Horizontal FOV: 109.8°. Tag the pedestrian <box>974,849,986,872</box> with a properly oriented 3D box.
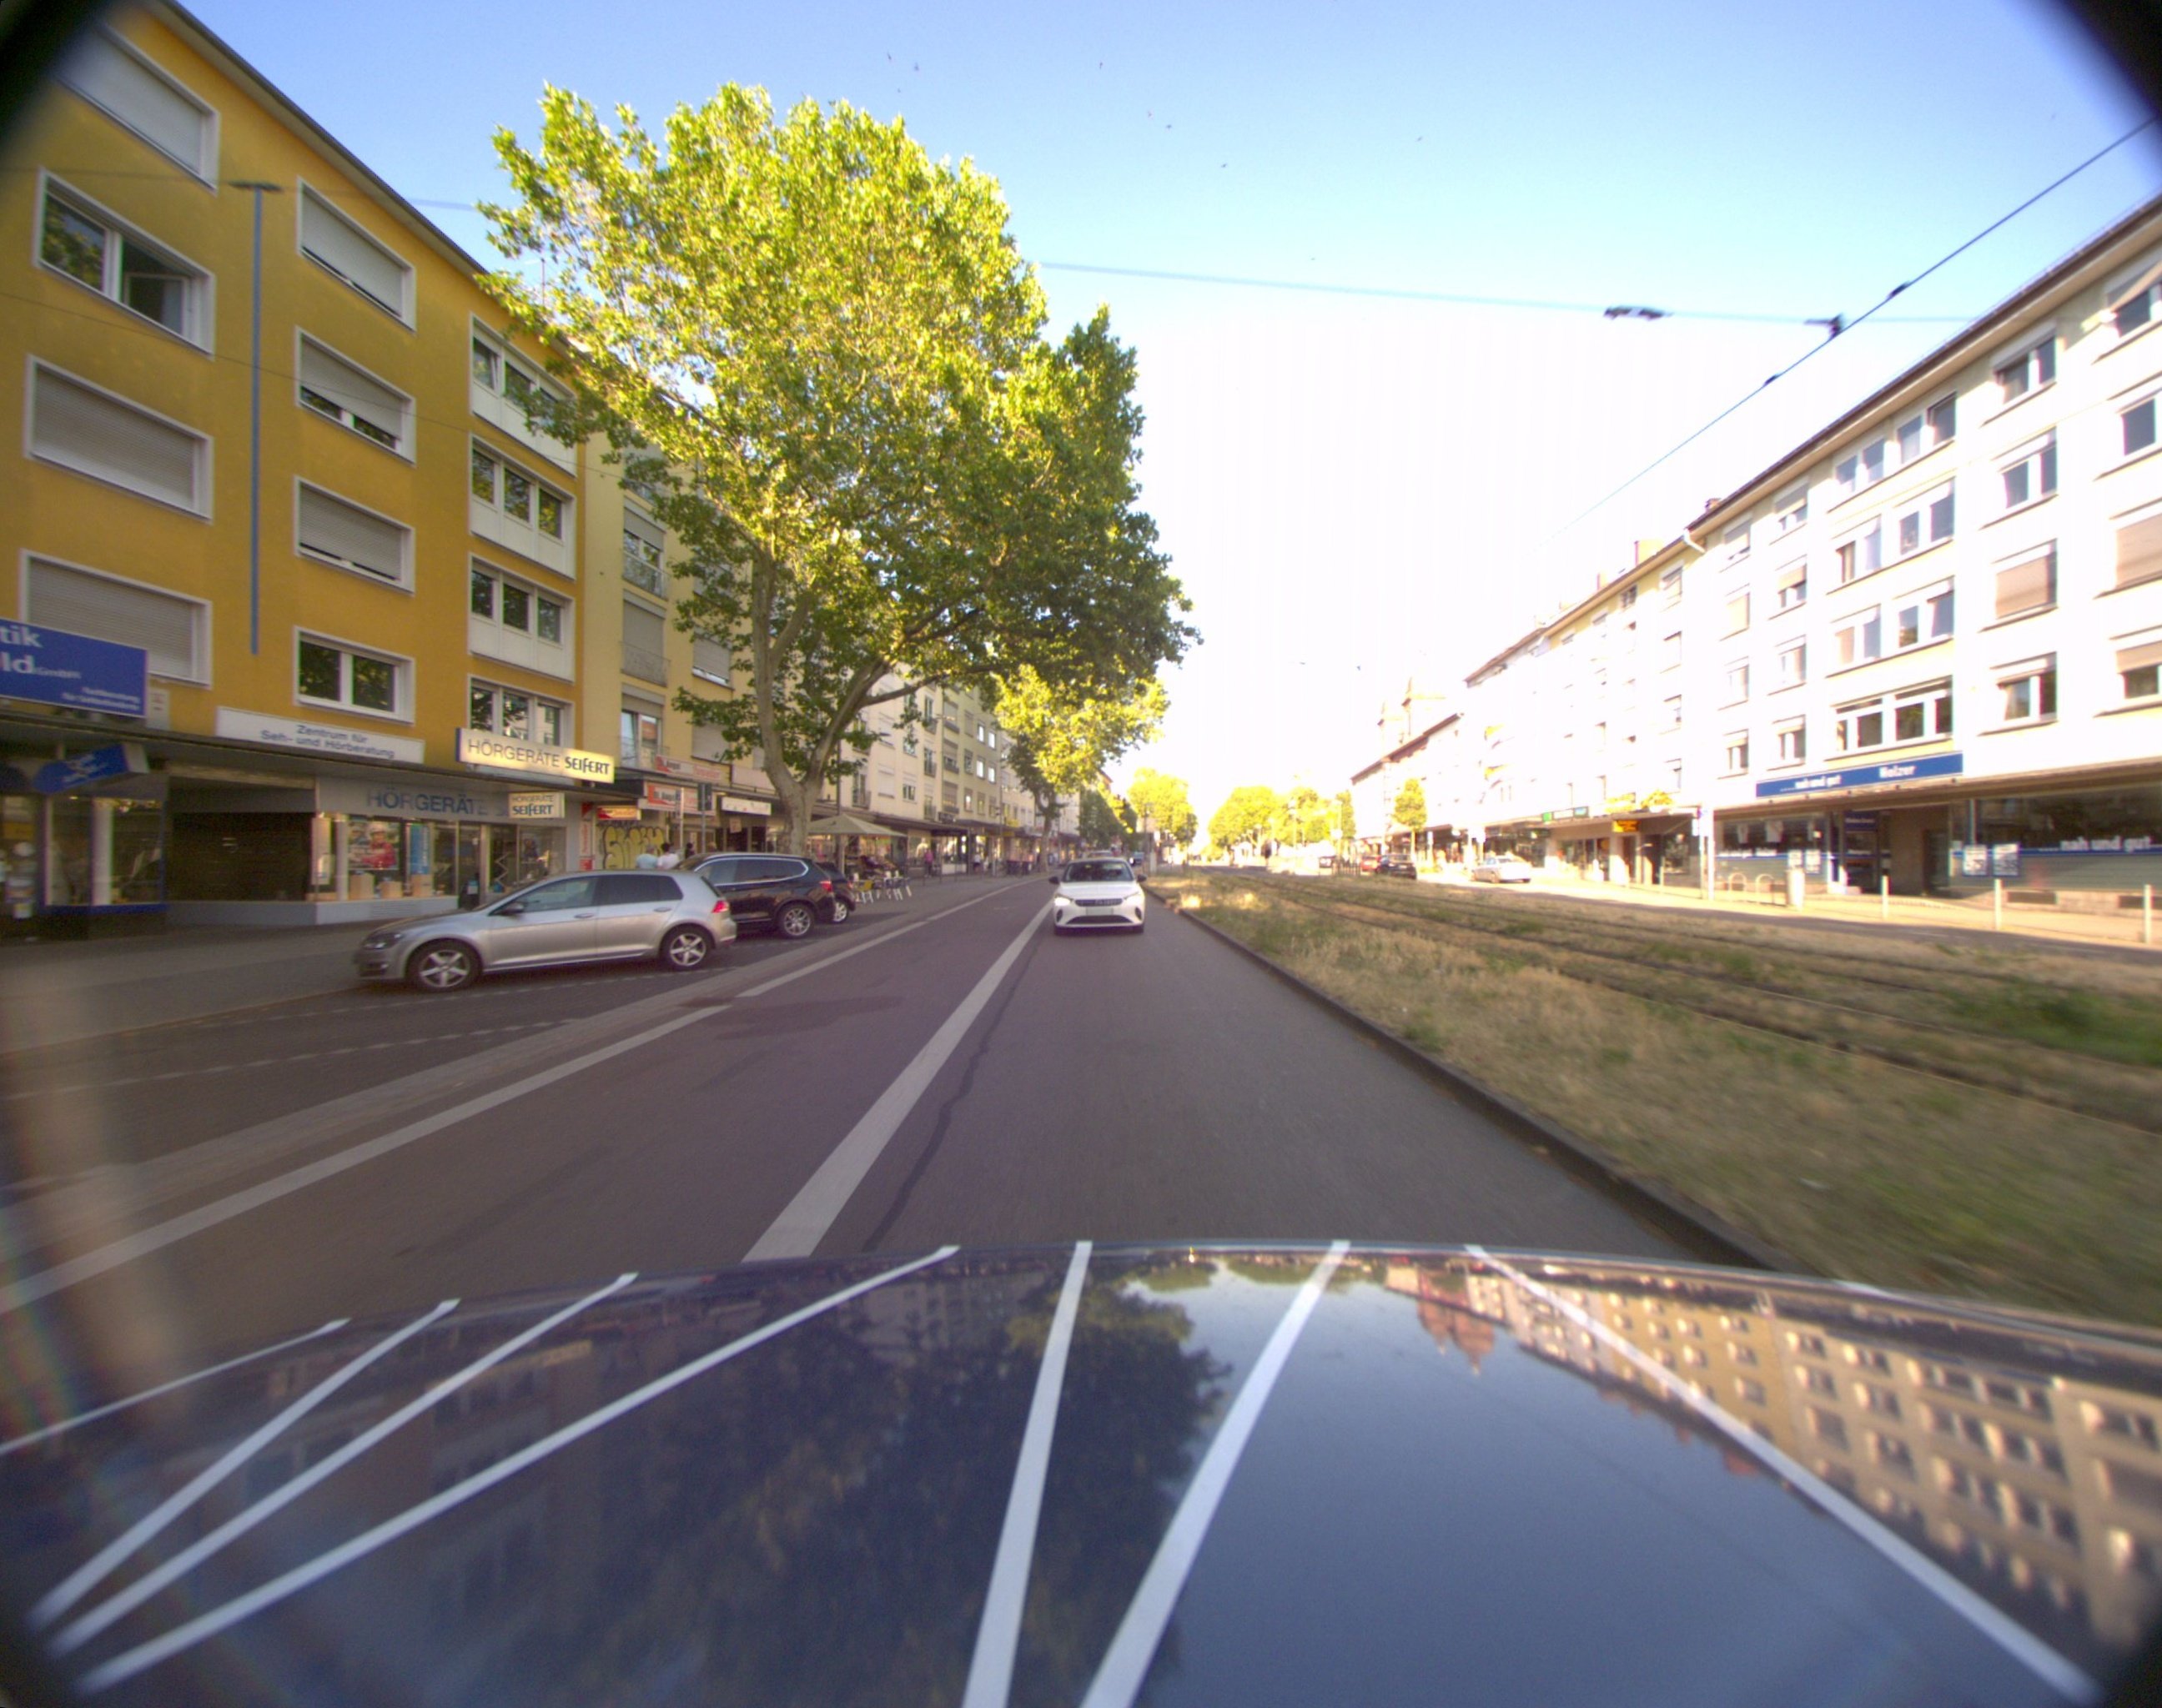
[{"bbox_3d":[-7.073,0.439,53.089,0.623,1.577,0.627,2,1,7],"label":"pedestrian"}]

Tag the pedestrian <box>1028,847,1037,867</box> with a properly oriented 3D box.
[{"bbox_3d":[-4.060,0.268,64.064,0.547,1.619,0.896,2,0,9],"label":"pedestrian"}]

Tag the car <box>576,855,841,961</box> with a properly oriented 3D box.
[{"bbox_3d":[-6.916,0.887,14.326,4.159,1.671,1.804,-1,1,-39],"label":"car"}]

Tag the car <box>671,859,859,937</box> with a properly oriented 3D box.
[{"bbox_3d":[-7.199,0.921,17.450,3.615,1.531,1.737,-1,1,-39],"label":"car"}]

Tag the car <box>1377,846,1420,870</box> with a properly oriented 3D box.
[{"bbox_3d":[26.467,0.301,63.330,3.777,1.789,1.859,-3,1,-43],"label":"car"}]

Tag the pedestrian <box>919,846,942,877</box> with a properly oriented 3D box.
[{"bbox_3d":[-8.880,0.415,44.865,0.969,1.753,1.134,1,2,9],"label":"pedestrian"}]

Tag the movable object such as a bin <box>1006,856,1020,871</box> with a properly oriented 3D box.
[{"bbox_3d":[-4.950,0.693,55.214,0.722,1.066,0.645,2,2,27],"label":"movable object such as a bin"}]

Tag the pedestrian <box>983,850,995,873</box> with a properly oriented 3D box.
[{"bbox_3d":[-6.427,0.489,53.003,0.636,1.577,0.627,2,1,7],"label":"pedestrian"}]

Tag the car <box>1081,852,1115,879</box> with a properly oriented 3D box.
[{"bbox_3d":[1.053,0.645,44.015,1.717,1.390,4.001,-2,0,4],"label":"car"}]

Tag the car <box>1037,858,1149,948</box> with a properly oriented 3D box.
[{"bbox_3d":[0.236,0.839,14.745,1.826,1.433,3.828,-2,0,1],"label":"car"}]

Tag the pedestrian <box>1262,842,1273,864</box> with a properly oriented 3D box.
[{"bbox_3d":[15.690,-0.072,63.900,0.743,1.838,0.590,0,1,3],"label":"pedestrian"}]

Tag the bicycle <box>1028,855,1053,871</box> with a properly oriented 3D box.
[{"bbox_3d":[-3.000,0.650,56.690,1.721,1.111,0.745,0,4,8],"label":"bicycle"}]

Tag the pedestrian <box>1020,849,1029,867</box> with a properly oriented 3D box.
[{"bbox_3d":[-4.797,0.326,64.574,0.541,1.493,0.896,2,0,9],"label":"pedestrian"}]

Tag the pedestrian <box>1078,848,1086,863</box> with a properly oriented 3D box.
[{"bbox_3d":[0.102,0.161,94.090,0.774,1.789,0.931,3,1,10],"label":"pedestrian"}]

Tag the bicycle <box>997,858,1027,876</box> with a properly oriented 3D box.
[{"bbox_3d":[-4.568,0.881,50.487,1.909,1.098,0.519,2,1,14],"label":"bicycle"}]

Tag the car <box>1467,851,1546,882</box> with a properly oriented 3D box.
[{"bbox_3d":[22.347,0.618,40.098,1.998,1.469,4.412,-2,0,5],"label":"car"}]

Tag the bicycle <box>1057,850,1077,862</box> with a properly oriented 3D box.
[{"bbox_3d":[-1.402,0.211,76.769,1.794,1.118,0.663,4,1,-19],"label":"bicycle"}]

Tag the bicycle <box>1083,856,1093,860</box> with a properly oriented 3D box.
[{"bbox_3d":[0.941,0.536,97.001,0.840,0.569,1.758,1,0,-14],"label":"bicycle"}]

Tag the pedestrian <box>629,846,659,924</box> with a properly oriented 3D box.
[{"bbox_3d":[-10.418,0.717,18.117,0.518,1.822,0.474,-1,1,-21],"label":"pedestrian"}]

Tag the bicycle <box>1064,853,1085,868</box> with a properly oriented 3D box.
[{"bbox_3d":[-0.660,0.617,75.597,1.788,1.304,0.695,6,2,20],"label":"bicycle"}]

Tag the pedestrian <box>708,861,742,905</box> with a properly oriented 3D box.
[{"bbox_3d":[-10.551,0.848,22.534,0.584,1.267,0.759,-2,1,2],"label":"pedestrian"}]

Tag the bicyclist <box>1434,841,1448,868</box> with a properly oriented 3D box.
[{"bbox_3d":[25.607,0.032,54.070,0.693,1.876,1.058,-4,2,17],"label":"bicyclist"}]

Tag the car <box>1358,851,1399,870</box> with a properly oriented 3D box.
[{"bbox_3d":[25.996,0.577,66.283,3.777,1.482,1.859,-3,1,-43],"label":"car"}]

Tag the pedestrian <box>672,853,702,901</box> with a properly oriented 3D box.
[{"bbox_3d":[-13.099,0.751,25.280,0.625,1.538,0.638,4,3,32],"label":"pedestrian"}]

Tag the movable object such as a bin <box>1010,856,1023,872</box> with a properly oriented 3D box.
[{"bbox_3d":[-4.613,0.701,54.684,0.723,1.066,0.644,6,2,6],"label":"movable object such as a bin"}]

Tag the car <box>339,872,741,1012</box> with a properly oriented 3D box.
[{"bbox_3d":[-7.151,1.035,10.481,4.185,1.443,1.805,-1,1,-37],"label":"car"}]

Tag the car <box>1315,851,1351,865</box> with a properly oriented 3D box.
[{"bbox_3d":[28.710,0.451,86.570,4.007,1.521,1.865,-2,1,-37],"label":"car"}]

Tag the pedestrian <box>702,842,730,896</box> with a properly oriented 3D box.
[{"bbox_3d":[-12.463,0.498,25.942,0.635,1.793,0.628,1,1,37],"label":"pedestrian"}]

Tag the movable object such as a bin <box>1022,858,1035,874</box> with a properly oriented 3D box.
[{"bbox_3d":[-3.764,0.848,54.592,0.723,1.096,0.645,4,2,15],"label":"movable object such as a bin"}]

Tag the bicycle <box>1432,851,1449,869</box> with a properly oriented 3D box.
[{"bbox_3d":[25.752,0.403,54.476,0.706,1.152,2.200,-4,1,17],"label":"bicycle"}]

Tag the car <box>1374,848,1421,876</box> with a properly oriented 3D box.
[{"bbox_3d":[17.704,0.407,42.610,1.725,1.500,3.478,0,1,11],"label":"car"}]

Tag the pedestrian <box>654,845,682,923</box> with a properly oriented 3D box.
[{"bbox_3d":[-9.862,0.704,18.154,0.518,1.822,0.474,-1,1,-21],"label":"pedestrian"}]
